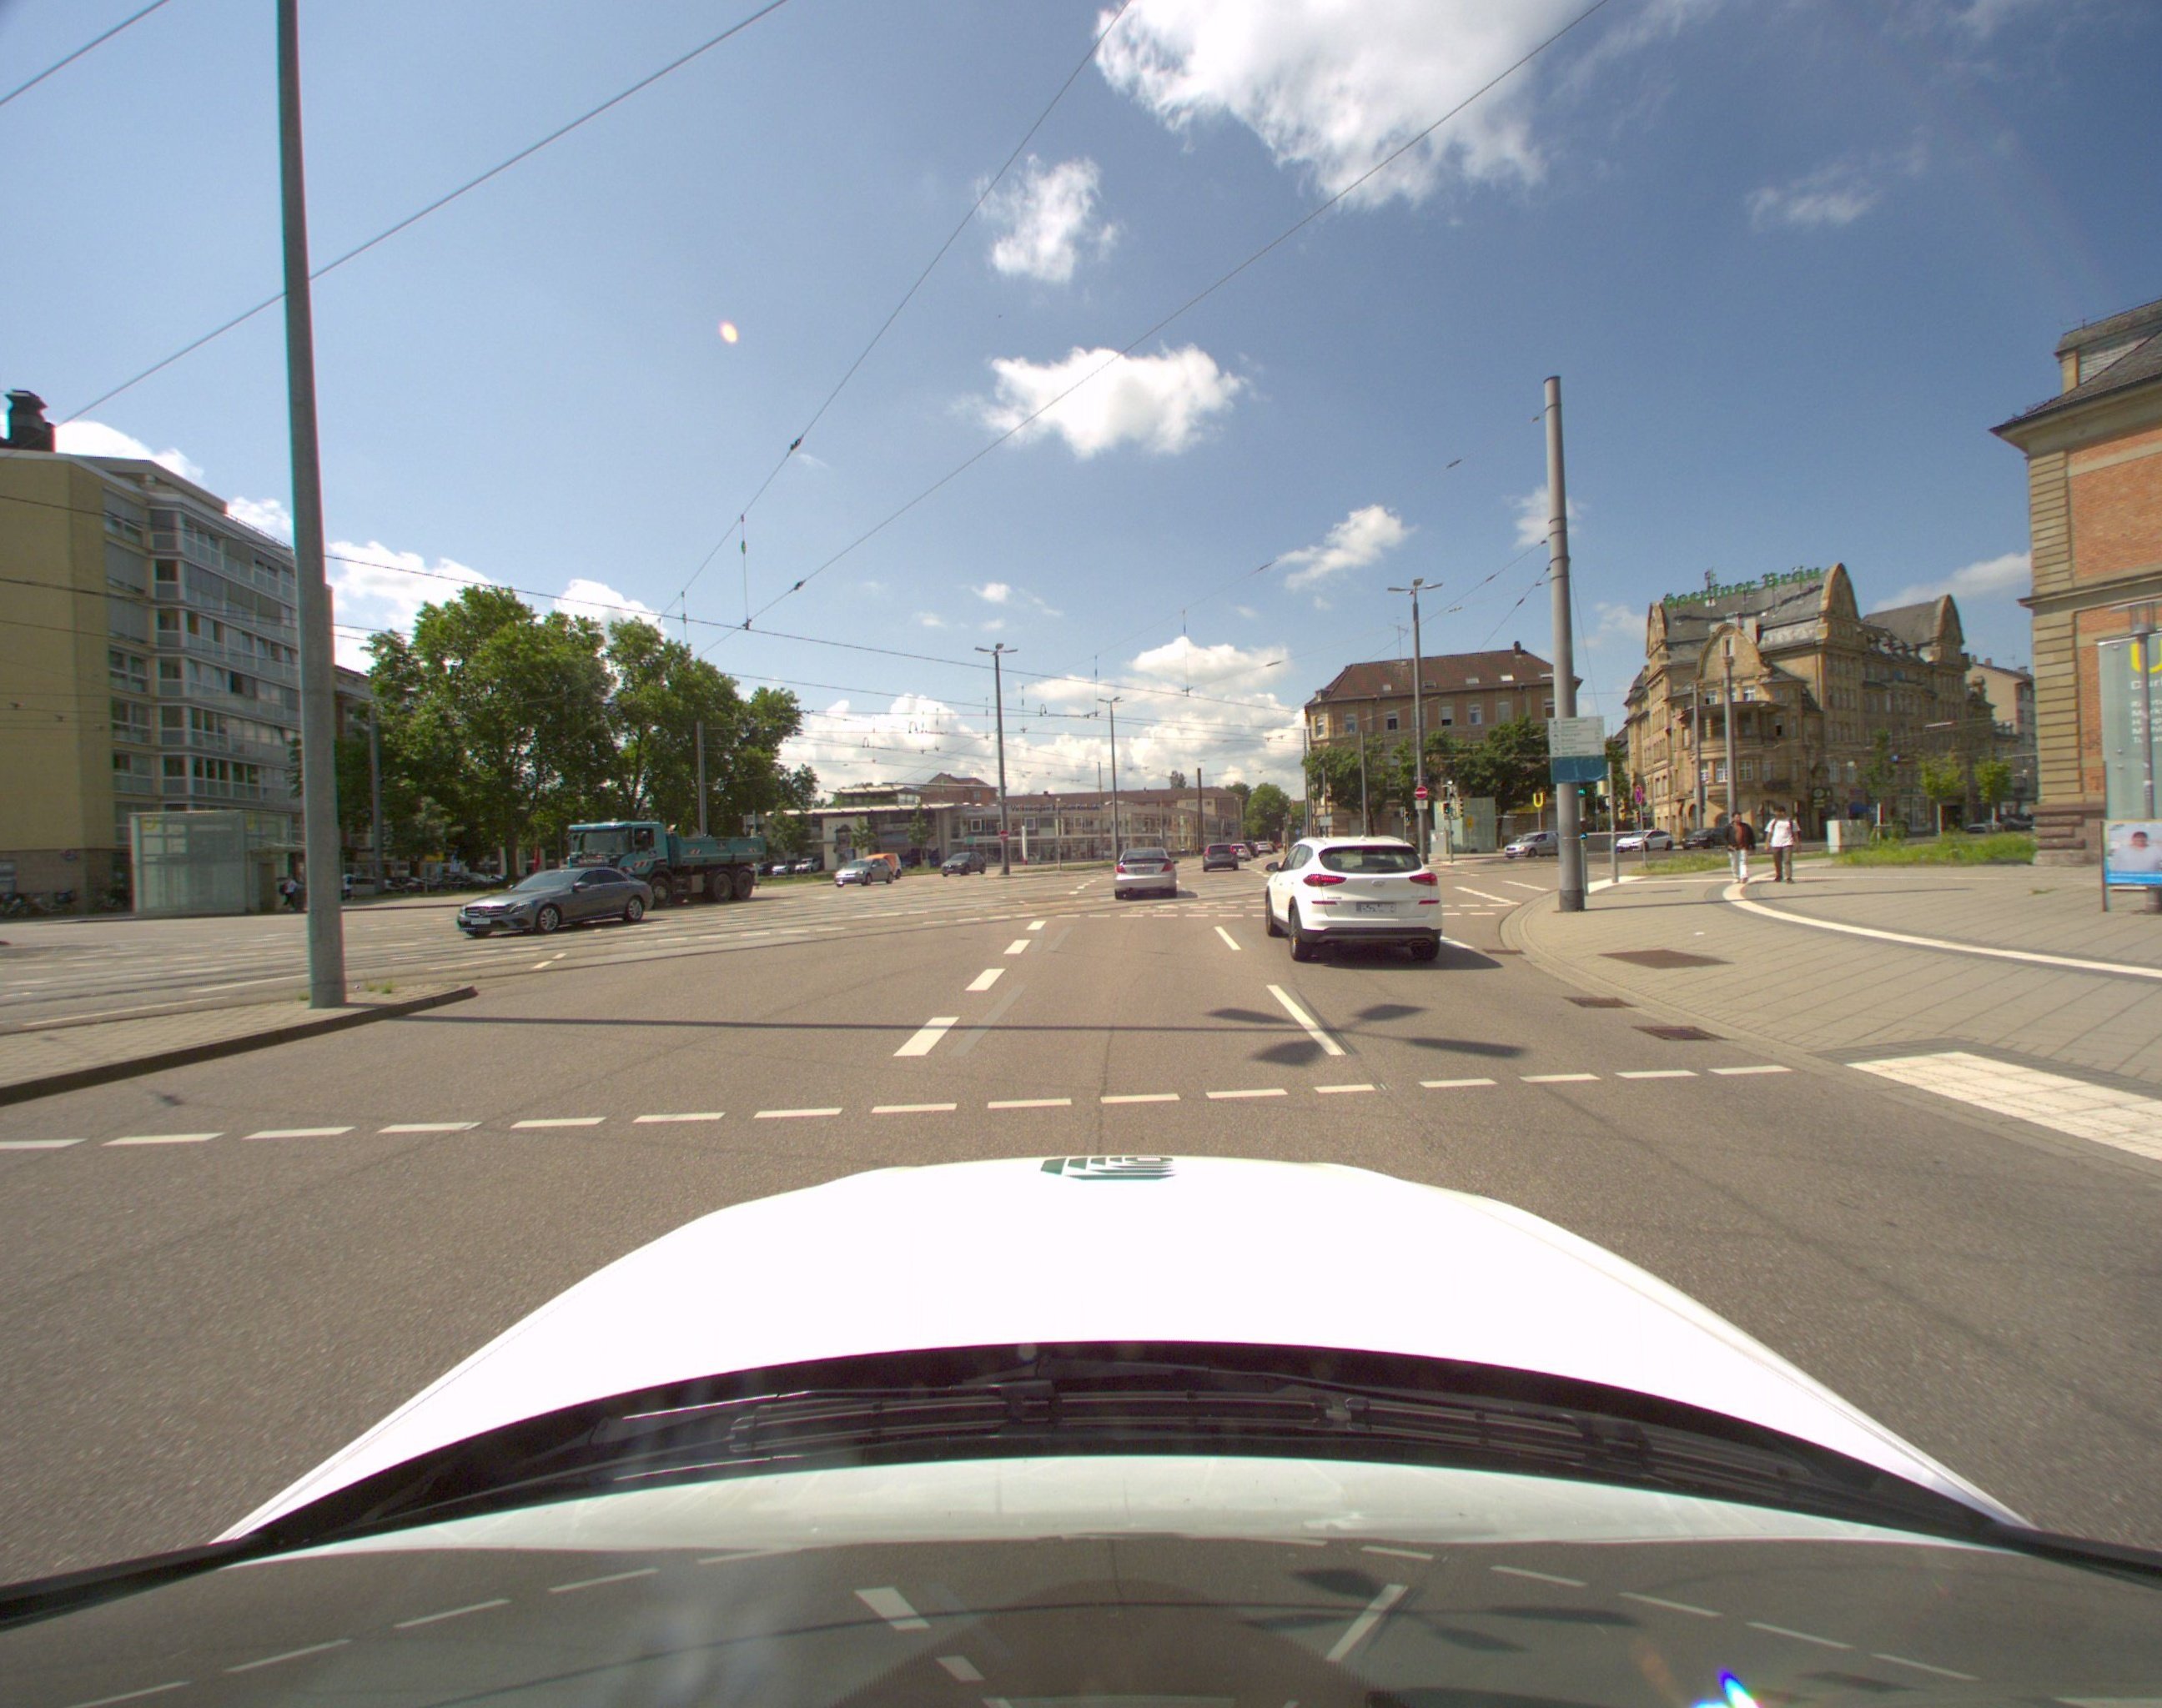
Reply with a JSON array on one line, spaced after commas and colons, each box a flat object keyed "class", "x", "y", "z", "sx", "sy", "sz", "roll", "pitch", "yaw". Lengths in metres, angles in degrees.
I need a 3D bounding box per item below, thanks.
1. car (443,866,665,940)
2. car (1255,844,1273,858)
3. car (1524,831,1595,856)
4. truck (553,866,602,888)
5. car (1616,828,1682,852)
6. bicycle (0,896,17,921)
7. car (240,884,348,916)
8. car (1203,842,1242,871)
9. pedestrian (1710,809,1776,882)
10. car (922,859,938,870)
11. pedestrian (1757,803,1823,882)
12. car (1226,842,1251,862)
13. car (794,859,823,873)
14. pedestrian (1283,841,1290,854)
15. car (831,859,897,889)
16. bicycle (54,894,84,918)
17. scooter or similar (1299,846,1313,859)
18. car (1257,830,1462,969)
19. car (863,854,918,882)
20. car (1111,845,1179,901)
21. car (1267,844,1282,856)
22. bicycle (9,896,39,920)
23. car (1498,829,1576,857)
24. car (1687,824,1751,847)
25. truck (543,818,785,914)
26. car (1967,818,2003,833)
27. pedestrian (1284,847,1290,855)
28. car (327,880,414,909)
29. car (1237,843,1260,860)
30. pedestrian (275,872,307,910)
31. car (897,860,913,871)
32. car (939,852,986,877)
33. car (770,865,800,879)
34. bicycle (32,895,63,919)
[{"class": "car", "x": -12.130, "y": 1.059, "z": 19.220, "sx": 1.644, "sy": 1.391, "sz": 4.784, "roll": -2, "pitch": 0, "yaw": 7}, {"class": "car", "x": 23.220, "y": -0.403, "z": 103.367, "sx": 1.867, "sy": 1.641, "sz": 3.974, "roll": -2, "pitch": 0, "yaw": 16}, {"class": "car", "x": 31.099, "y": -0.682, "z": 52.953, "sx": 4.139, "sy": 1.473, "sz": 1.712, "roll": -2, "pitch": 0, "yaw": -20}, {"class": "truck", "x": -53.310, "y": 2.439, "z": 86.314, "sx": 1.795, "sy": 2.120, "sz": 4.786, "roll": -2, "pitch": 0, "yaw": 5}, {"class": "car", "x": 39.556, "y": -0.991, "z": 56.710, "sx": 4.142, "sy": 1.473, "sz": 1.711, "roll": -2, "pitch": 0, "yaw": -22}, {"class": "bicycle", "x": -51.635, "y": 2.611, "z": 38.966, "sx": 2.108, "sy": 1.147, "sz": 0.514, "roll": -2, "pitch": -2, "yaw": 27}, {"class": "car", "x": -45.838, "y": 2.658, "z": 47.512, "sx": 4.110, "sy": 1.665, "sz": 1.859, "roll": -1, "pitch": -1, "yaw": -15}, {"class": "car", "x": 7.411, "y": 0.110, "z": 42.727, "sx": 1.870, "sy": 1.419, "sz": 3.968, "roll": -2, "pitch": 0, "yaw": 9}, {"class": "pedestrian", "x": 15.917, "y": -0.191, "z": 19.586, "sx": 0.971, "sy": 1.657, "sz": 0.855, "roll": -3, "pitch": -2, "yaw": -33}, {"class": "car", "x": -17.355, "y": 1.234, "z": 93.649, "sx": 1.650, "sy": 1.250, "sz": 3.981, "roll": -1, "pitch": -1, "yaw": -13}, {"class": "pedestrian", "x": 16.452, "y": -0.265, "z": 18.915, "sx": 0.760, "sy": 1.751, "sz": 0.855, "roll": -3, "pitch": -2, "yaw": -33}, {"class": "car", "x": 13.425, "y": -0.174, "z": 69.227, "sx": 1.868, "sy": 1.641, "sz": 3.972, "roll": -2, "pitch": 0, "yaw": 13}, {"class": "car", "x": -31.871, "y": 1.397, "z": 95.324, "sx": 1.988, "sy": 1.574, "sz": 4.174, "roll": -1, "pitch": -1, "yaw": -2}, {"class": "pedestrian", "x": 24.151, "y": -0.773, "z": 95.619, "sx": 0.687, "sy": 1.457, "sz": 0.682, "roll": -2, "pitch": -2, "yaw": 16}, {"class": "car", "x": -11.464, "y": 1.013, "z": 43.308, "sx": 1.643, "sy": 1.434, "sz": 4.283, "roll": -2, "pitch": 0, "yaw": 10}, {"class": "bicycle", "x": -49.994, "y": 2.561, "z": 40.228, "sx": 2.108, "sy": 1.147, "sz": 0.514, "roll": -2, "pitch": -2, "yaw": 27}, {"class": "scooter or similar", "x": 20.582, "y": -0.097, "z": 74.464, "sx": 1.528, "sy": 1.174, "sz": 0.378, "roll": 0, "pitch": -2, "yaw": -37}, {"class": "car", "x": 3.845, "y": 0.549, "z": 12.057, "sx": 1.872, "sy": 1.641, "sz": 4.239, "roll": -2, "pitch": 0, "yaw": 5}, {"class": "car", "x": -13.249, "y": 0.944, "z": 56.979, "sx": 1.706, "sy": 1.800, "sz": 4.758, "roll": -3, "pitch": 0, "yaw": 14}, {"class": "car", "x": 1.921, "y": 0.482, "z": 23.467, "sx": 1.732, "sy": 1.391, "sz": 4.187, "roll": -3, "pitch": 0, "yaw": 7}, {"class": "car", "x": 27.917, "y": -0.537, "z": 117.647, "sx": 1.867, "sy": 1.641, "sz": 3.974, "roll": -2, "pitch": 0, "yaw": 16}, {"class": "bicycle", "x": -51.106, "y": 2.603, "z": 39.374, "sx": 2.108, "sy": 1.147, "sz": 0.514, "roll": -2, "pitch": -2, "yaw": 27}, {"class": "car", "x": 26.878, "y": -0.666, "z": 47.989, "sx": 4.139, "sy": 1.473, "sz": 1.712, "roll": -2, "pitch": 0, "yaw": -20}, {"class": "car", "x": 46.454, "y": -1.360, "z": 59.278, "sx": 4.139, "sy": 1.473, "sz": 1.712, "roll": -2, "pitch": 0, "yaw": -20}, {"class": "truck", "x": -14.477, "y": 0.354, "z": 29.474, "sx": 2.867, "sy": 2.852, "sz": 8.819, "roll": -2, "pitch": 0, "yaw": 11}, {"class": "car", "x": 96.973, "y": -3.080, "z": 87.338, "sx": 4.151, "sy": 1.473, "sz": 1.707, "roll": -2, "pitch": 0, "yaw": -29}, {"class": "pedestrian", "x": 24.174, "y": -0.396, "z": 95.560, "sx": 0.520, "sy": 0.906, "sz": 1.567, "roll": -2, "pitch": -1, "yaw": 15}, {"class": "car", "x": -49.387, "y": 2.821, "z": 56.692, "sx": 4.105, "sy": 1.858, "sz": 1.974, "roll": -1, "pitch": -1, "yaw": -15}, {"class": "car", "x": 17.091, "y": -0.253, "z": 82.988, "sx": 1.867, "sy": 1.641, "sz": 3.974, "roll": -2, "pitch": 0, "yaw": 16}, {"class": "pedestrian", "x": -34.349, "y": 1.603, "z": 35.423, "sx": 0.868, "sy": 1.633, "sz": 1.014, "roll": 0, "pitch": -2, "yaw": -36}, {"class": "car", "x": -20.350, "y": 1.320, "z": 94.152, "sx": 1.650, "sy": 1.250, "sz": 3.981, "roll": -1, "pitch": -1, "yaw": -13}, {"class": "car", "x": -8.056, "y": 0.681, "z": 55.781, "sx": 1.706, "sy": 1.531, "sz": 4.136, "roll": -2, "pitch": 0, "yaw": 13}, {"class": "car", "x": -34.660, "y": 2.082, "z": 95.488, "sx": 1.988, "sy": 1.574, "sz": 4.174, "roll": -1, "pitch": -1, "yaw": -2}, {"class": "bicycle", "x": -50.474, "y": 2.589, "z": 39.776, "sx": 2.108, "sy": 1.147, "sz": 0.537, "roll": -2, "pitch": -2, "yaw": 28}]
